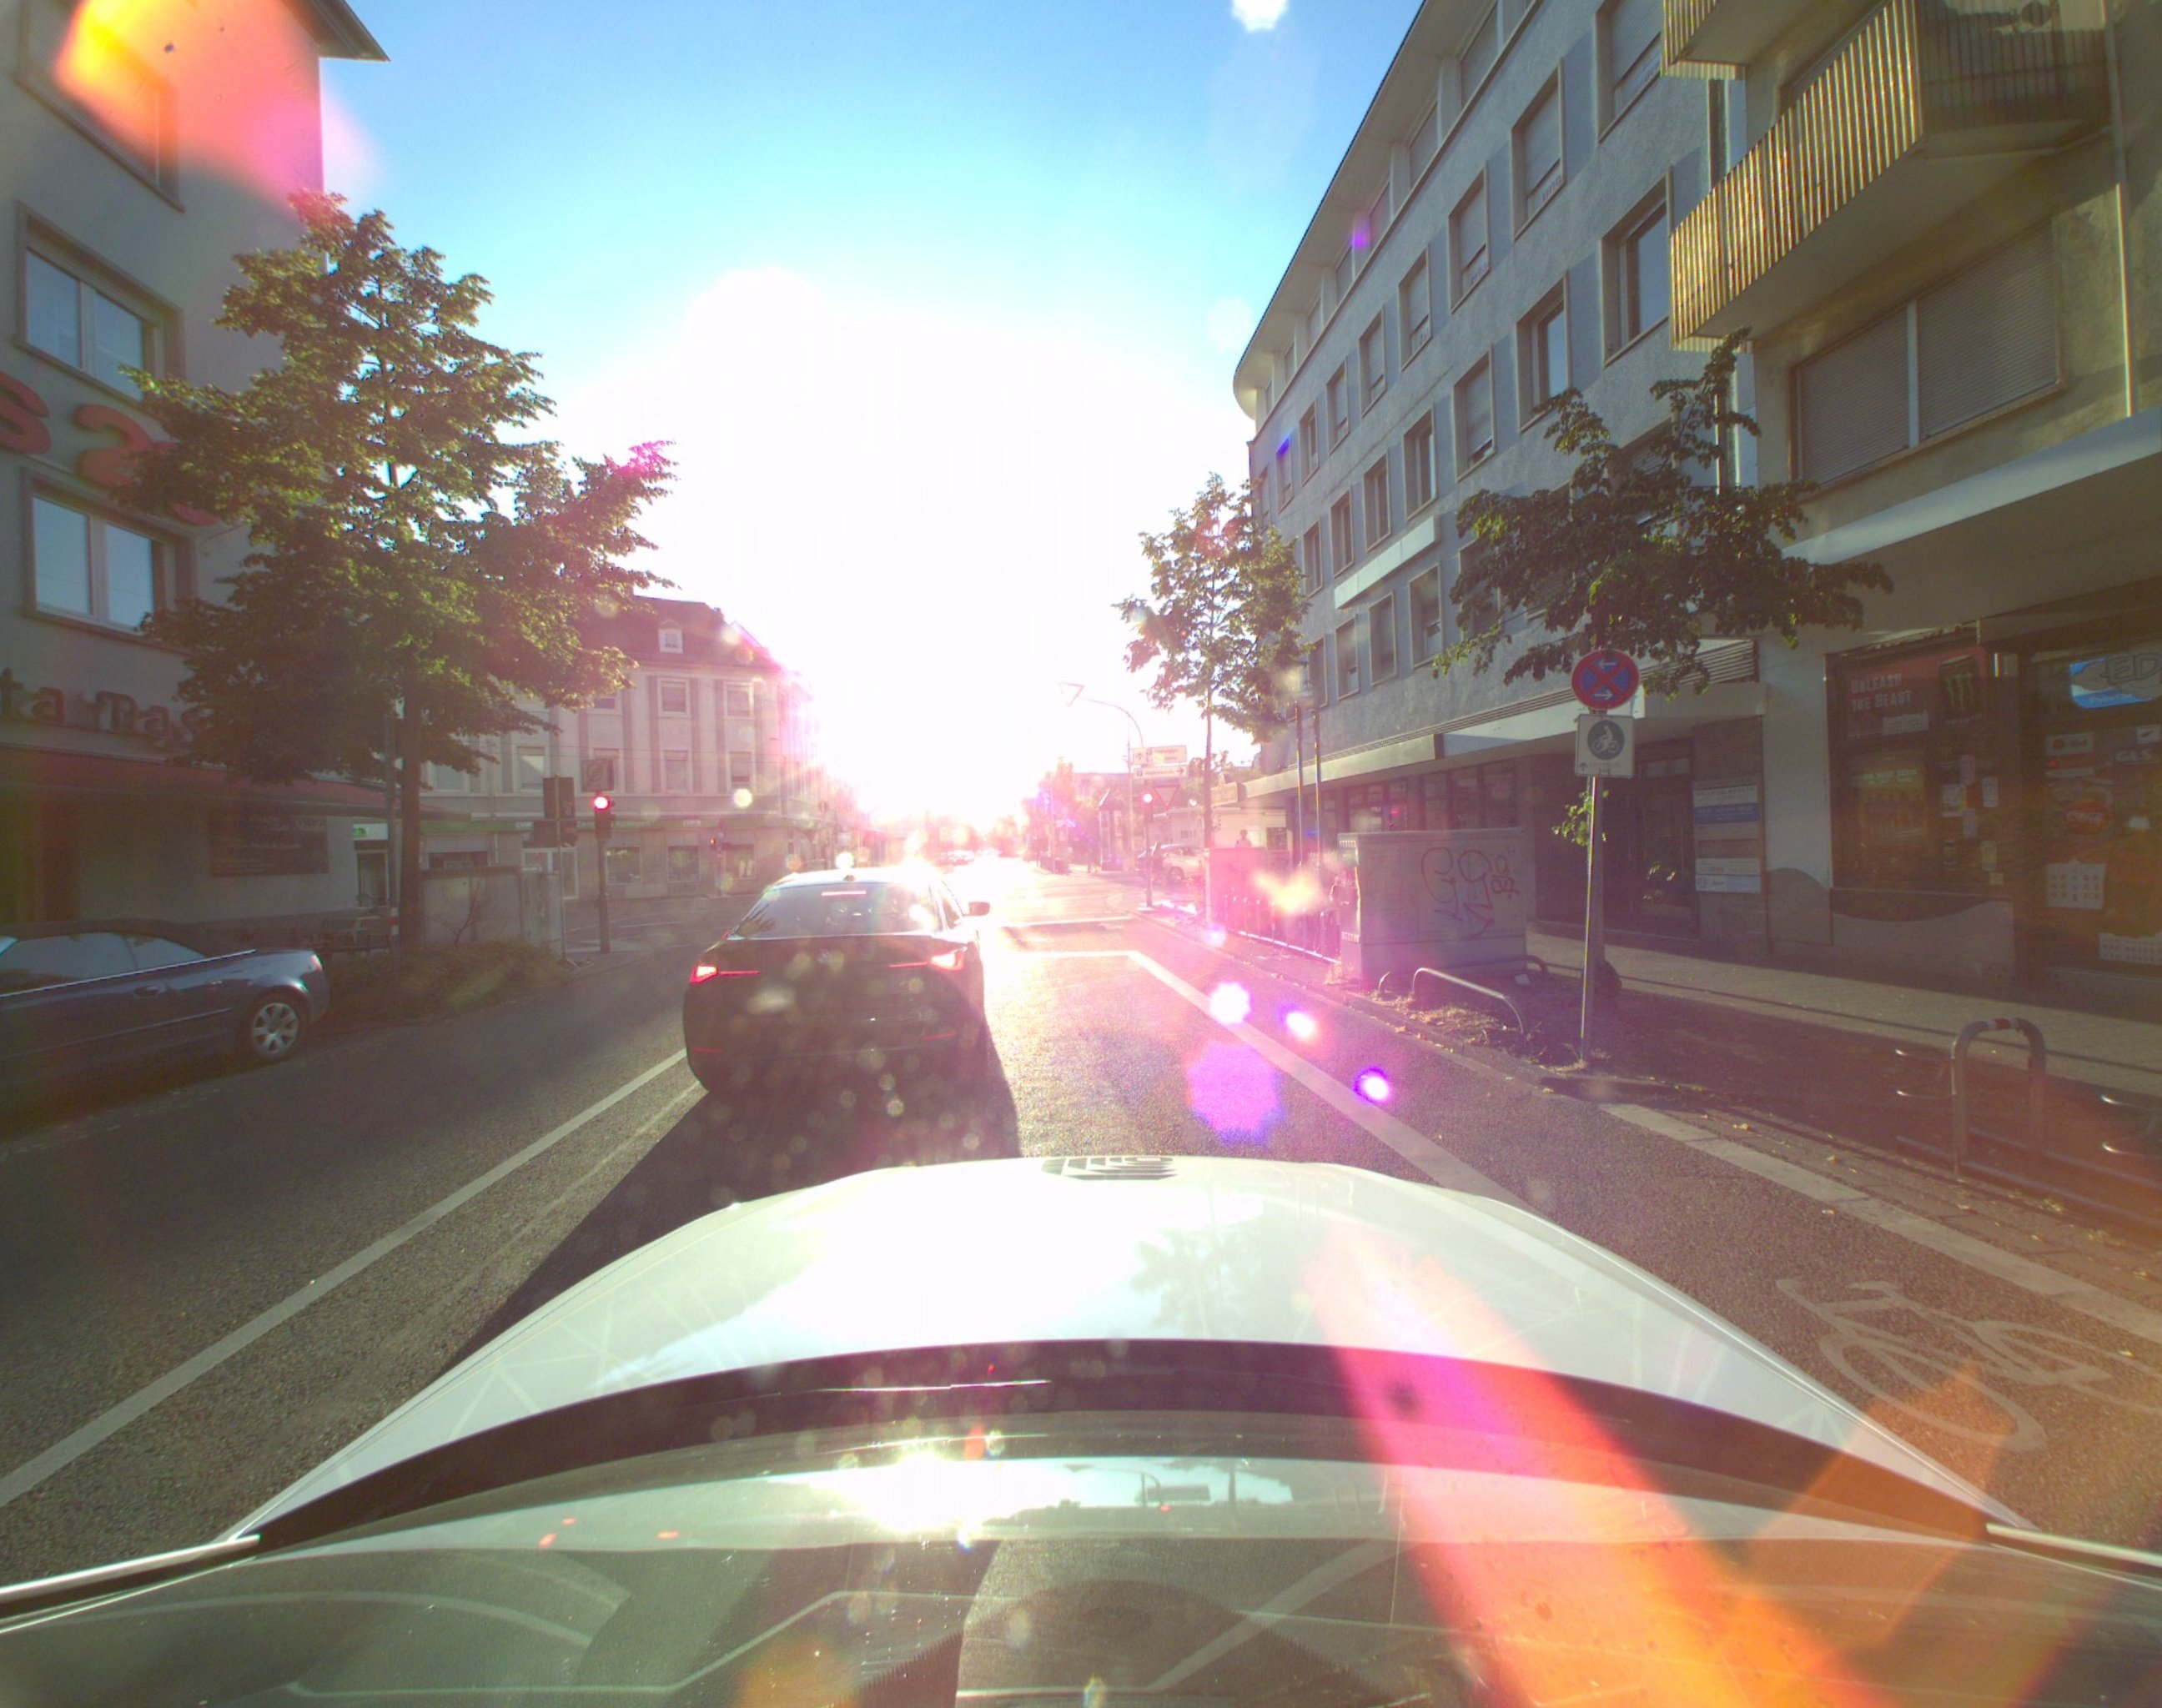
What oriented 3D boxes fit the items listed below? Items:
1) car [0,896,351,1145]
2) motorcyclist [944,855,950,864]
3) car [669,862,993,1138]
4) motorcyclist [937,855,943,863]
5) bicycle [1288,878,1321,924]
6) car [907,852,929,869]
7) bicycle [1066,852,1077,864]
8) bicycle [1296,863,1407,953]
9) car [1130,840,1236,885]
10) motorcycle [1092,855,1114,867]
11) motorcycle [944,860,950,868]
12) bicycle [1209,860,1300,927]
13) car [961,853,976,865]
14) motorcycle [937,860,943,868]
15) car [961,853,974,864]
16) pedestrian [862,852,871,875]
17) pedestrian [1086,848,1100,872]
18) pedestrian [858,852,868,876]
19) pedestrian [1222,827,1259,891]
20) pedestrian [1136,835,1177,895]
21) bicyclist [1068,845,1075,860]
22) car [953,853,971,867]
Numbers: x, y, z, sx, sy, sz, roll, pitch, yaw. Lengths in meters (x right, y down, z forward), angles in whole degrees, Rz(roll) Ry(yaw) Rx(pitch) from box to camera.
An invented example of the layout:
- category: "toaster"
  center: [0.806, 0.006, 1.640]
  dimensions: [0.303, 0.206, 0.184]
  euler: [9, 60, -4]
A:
- category: "car"
  center: [-7.631, 1.155, 5.551]
  dimensions: [1.721, 1.415, 4.270]
  euler: [-4, 0, -7]
- category: "motorcyclist"
  center: [-15.521, 0.613, 94.243]
  dimensions: [0.574, 0.995, 0.701]
  euler: [0, 0, -6]
- category: "car"
  center: [-1.636, 0.817, 6.660]
  dimensions: [1.735, 1.428, 4.213]
  euler: [-1, 0, -7]
- category: "motorcyclist"
  center: [-16.435, 0.621, 94.765]
  dimensions: [0.574, 0.915, 2.196]
  euler: [0, 0, -6]
- category: "bicycle"
  center: [4.201, 0.875, 15.351]
  dimensions: [0.249, 0.796, 1.114]
  euler: [0, 0, -4]
- category: "car"
  center: [-17.518, 0.678, 87.724]
  dimensions: [1.816, 1.788, 3.992]
  euler: [-2, 0, -6]
- category: "bicycle"
  center: [-0.922, 0.385, 80.074]
  dimensions: [0.551, 1.159, 2.133]
  euler: [-1, -1, -14]
- category: "bicycle"
  center: [3.805, 0.745, 11.479]
  dimensions: [1.438, 1.220, 0.383]
  euler: [0, 0, -5]
- category: "car"
  center: [4.395, 0.321, 34.824]
  dimensions: [4.307, 1.707, 1.787]
  euler: [-2, 1, -32]
- category: "motorcycle"
  center: [1.825, 0.546, 68.120]
  dimensions: [1.673, 0.939, 0.851]
  euler: [-2, 0, -18]
- category: "motorcycle"
  center: [-15.533, 1.145, 94.340]
  dimensions: [0.574, 0.915, 2.196]
  euler: [0, 0, -6]
- category: "bicycle"
  center: [3.235, 0.725, 15.206]
  dimensions: [1.610, 1.171, 0.318]
  euler: [-2, 0, -5]
- category: "car"
  center: [-15.693, 0.652, 113.596]
  dimensions: [1.816, 1.519, 3.992]
  euler: [-2, 0, -6]
- category: "motorcycle"
  center: [-16.420, 1.152, 94.742]
  dimensions: [0.574, 0.915, 2.196]
  euler: [0, 0, -6]
- category: "car"
  center: [-17.285, 0.651, 123.869]
  dimensions: [1.816, 1.519, 3.992]
  euler: [-2, 0, -6]
- category: "pedestrian"
  center: [-17.230, 0.775, 65.459]
  dimensions: [0.616, 1.876, 0.676]
  euler: [0, 0, -10]
- category: "pedestrian"
  center: [0.751, 0.370, 52.215]
  dimensions: [0.737, 1.529, 0.468]
  euler: [0, 0, -27]
- category: "pedestrian"
  center: [-17.270, 0.776, 64.612]
  dimensions: [0.642, 1.876, 0.630]
  euler: [0, 0, -7]
- category: "pedestrian"
  center: [4.742, 0.141, 24.230]
  dimensions: [0.834, 1.841, 0.677]
  euler: [-2, 0, -6]
- category: "pedestrian"
  center: [2.462, 0.346, 26.498]
  dimensions: [1.006, 1.860, 0.634]
  euler: [-5, 1, -27]
- category: "bicyclist"
  center: [-0.936, -0.116, 80.121]
  dimensions: [0.551, 1.481, 0.719]
  euler: [-1, -1, -15]
- category: "car"
  center: [-13.911, 0.659, 95.182]
  dimensions: [1.816, 1.519, 3.992]
  euler: [-2, 0, -6]
